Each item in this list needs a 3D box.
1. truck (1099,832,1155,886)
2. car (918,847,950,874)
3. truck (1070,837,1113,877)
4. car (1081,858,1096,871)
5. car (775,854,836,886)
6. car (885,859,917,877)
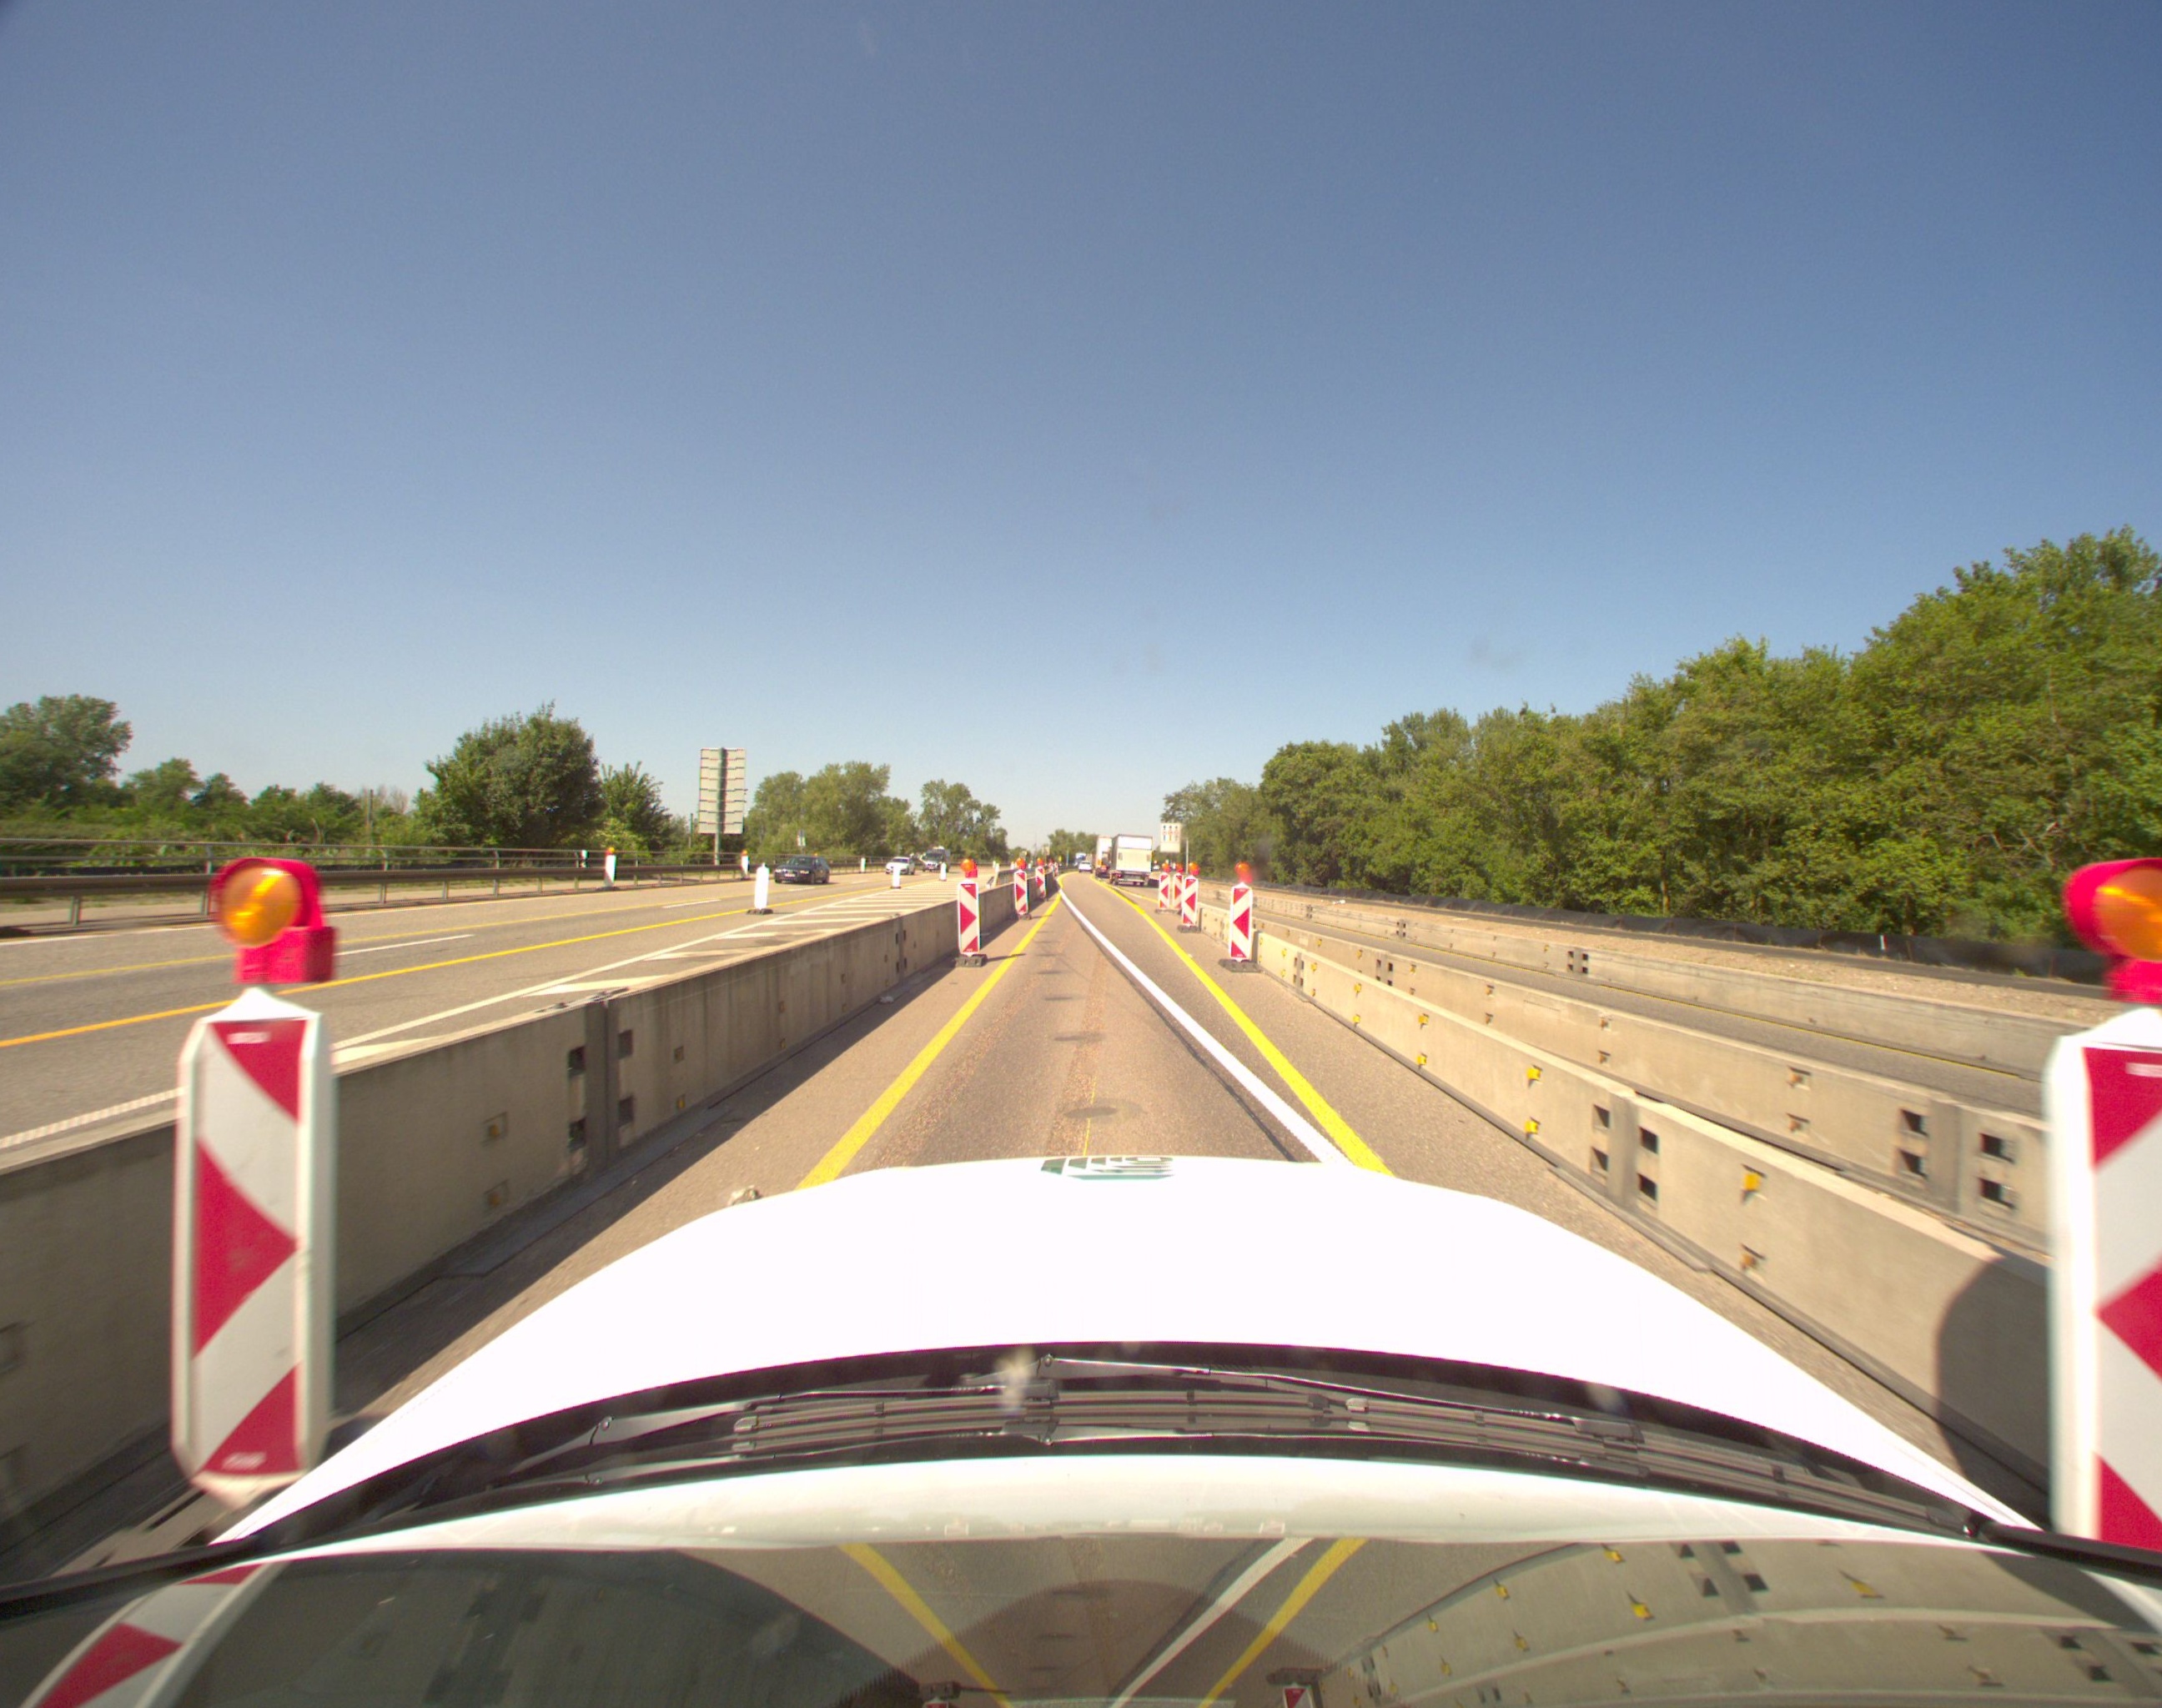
[{"bbox_3d":[3.060,0.350,56.509,2.631,3.427,7.218,2,0,-6],"label":"truck"},{"bbox_3d":[-15.290,0.704,84.843,2.139,2.661,5.546,2,-1,1],"label":"car"},{"bbox_3d":[0.959,0.339,80.986,3.384,3.774,7.217,1,-1,-6],"label":"truck"},{"bbox_3d":[1.007,1.405,112.213,1.811,1.776,3.997,1,-1,-2],"label":"car"},{"bbox_3d":[-13.937,0.785,41.400,1.734,1.476,4.639,1,-1,-4],"label":"car"},{"bbox_3d":[-14.933,1.164,67.777,1.715,1.397,4.515,3,-1,-2],"label":"car"}]
